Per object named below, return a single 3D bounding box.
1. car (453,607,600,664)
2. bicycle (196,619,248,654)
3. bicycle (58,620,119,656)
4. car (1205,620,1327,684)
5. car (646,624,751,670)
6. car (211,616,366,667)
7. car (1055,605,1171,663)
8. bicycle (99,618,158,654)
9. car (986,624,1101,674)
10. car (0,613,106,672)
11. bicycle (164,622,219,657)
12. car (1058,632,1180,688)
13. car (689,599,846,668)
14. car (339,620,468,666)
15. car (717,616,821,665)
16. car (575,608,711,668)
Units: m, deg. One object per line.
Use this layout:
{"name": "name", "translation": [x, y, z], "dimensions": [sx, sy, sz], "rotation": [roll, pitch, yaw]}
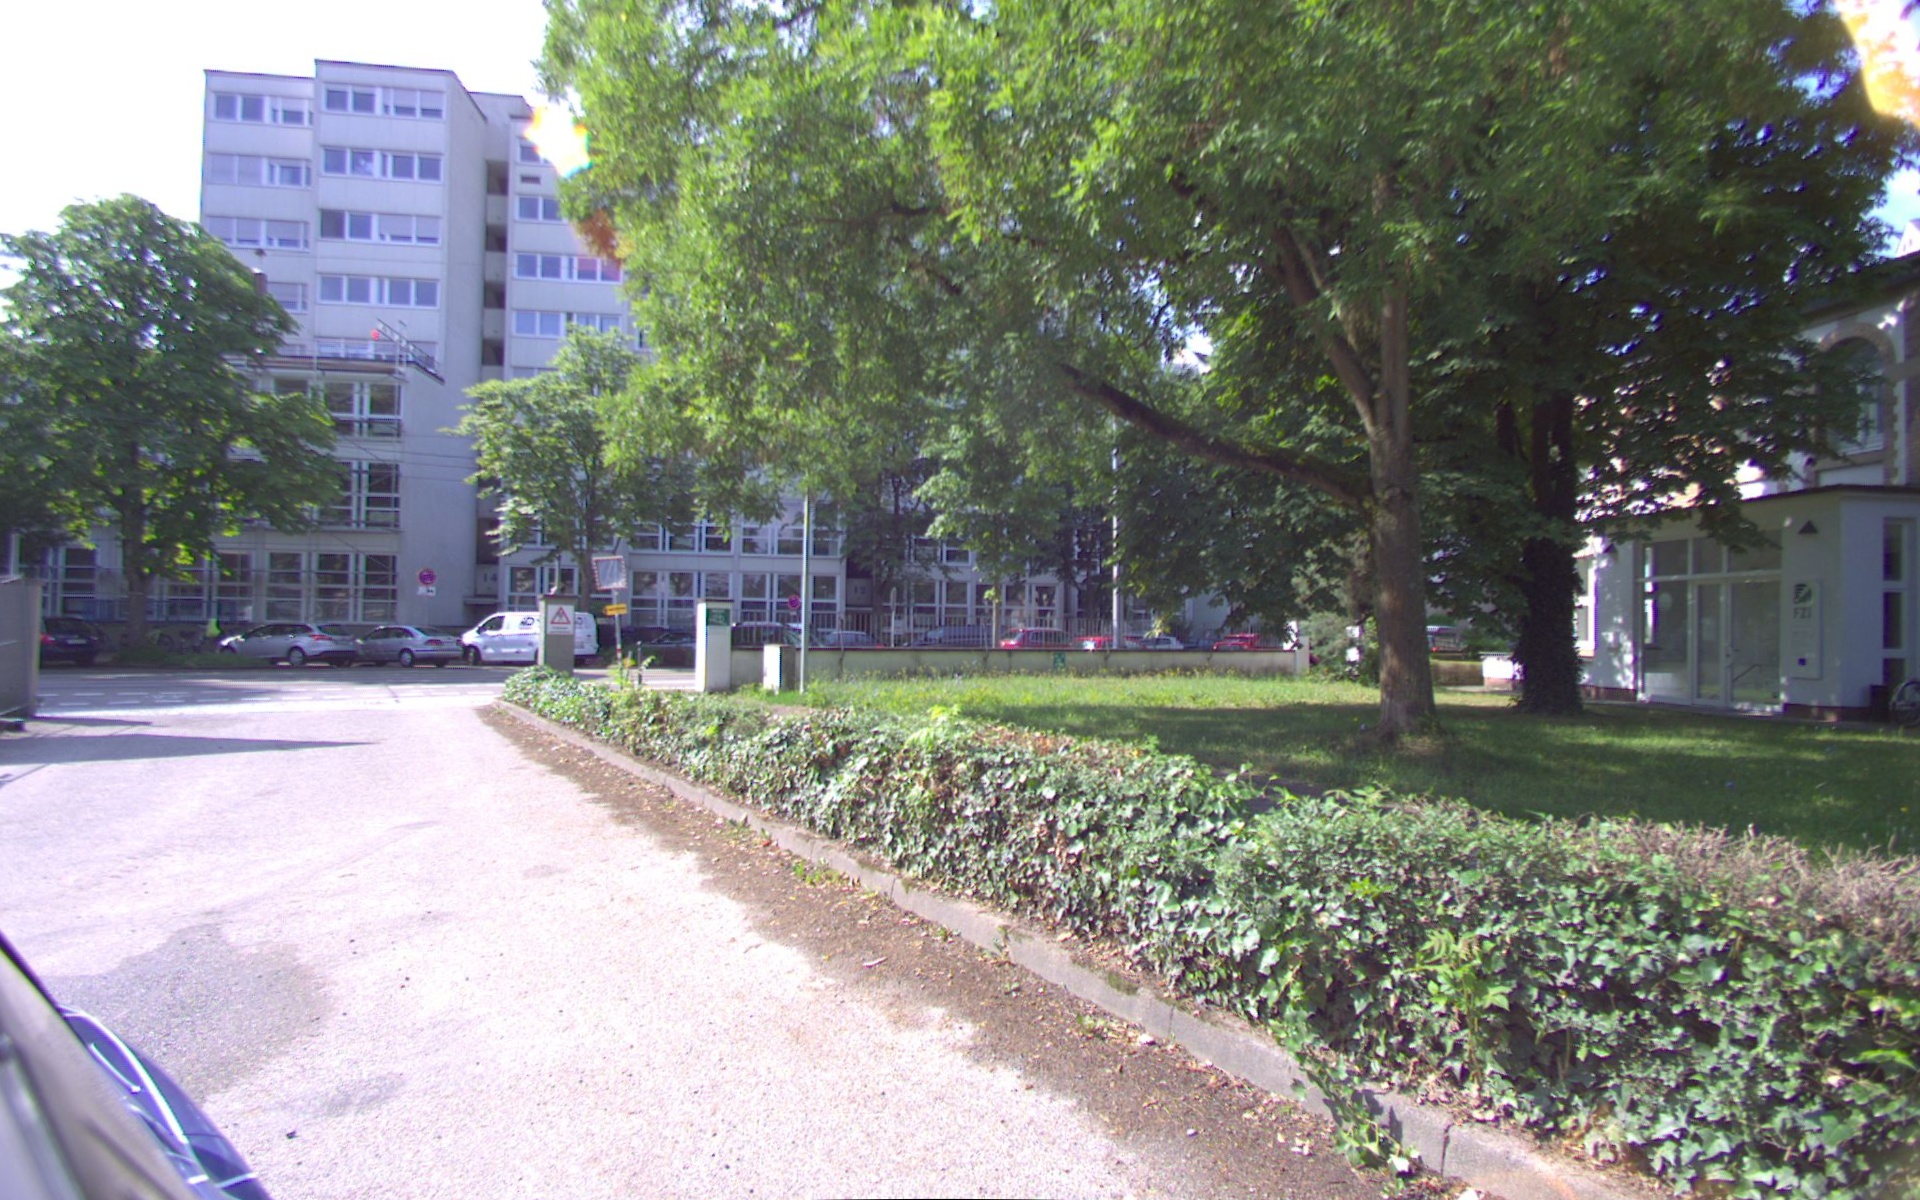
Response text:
{"name": "car", "translation": [-15.435, 1.276, 36.110], "dimensions": [4.599, 1.927, 1.922], "rotation": [0, -3, 16]}
{"name": "bicycle", "translation": [-27.269, 1.324, 37.418], "dimensions": [0.489, 1.095, 2.059], "rotation": [-3, 3, -4]}
{"name": "bicycle", "translation": [-31.575, 1.360, 36.711], "dimensions": [0.489, 1.095, 2.059], "rotation": [-3, 3, -4]}
{"name": "car", "translation": [10.790, 1.767, 35.621], "dimensions": [3.933, 1.718, 1.972], "rotation": [-5, 4, -32]}
{"name": "car", "translation": [-10.361, 1.854, 40.224], "dimensions": [3.595, 1.512, 1.758], "rotation": [-2, 2, 9]}
{"name": "car", "translation": [-21.935, 1.349, 33.117], "dimensions": [4.189, 1.475, 1.777], "rotation": [-2, -2, 10]}
{"name": "car", "translation": [4.789, 1.033, 31.678], "dimensions": [3.225, 1.497, 1.677], "rotation": [-5, 2, -33]}
{"name": "bicycle", "translation": [-30.353, 1.290, 36.984], "dimensions": [0.489, 1.095, 2.059], "rotation": [-3, 3, -4]}
{"name": "car", "translation": [2.983, 1.685, 35.837], "dimensions": [3.904, 1.624, 1.684], "rotation": [1, -1, -35]}
{"name": "car", "translation": [-27.217, 1.248, 29.300], "dimensions": [3.962, 1.473, 1.752], "rotation": [-2, 3, 15]}
{"name": "bicycle", "translation": [-28.065, 1.425, 36.998], "dimensions": [0.489, 1.095, 2.059], "rotation": [-3, 3, -4]}
{"name": "car", "translation": [4.967, 1.840, 31.542], "dimensions": [3.524, 1.624, 1.684], "rotation": [1, -2, -34]}
{"name": "car", "translation": [-4.838, 0.835, 25.566], "dimensions": [3.524, 1.624, 1.684], "rotation": [1, -2, -34]}
{"name": "car", "translation": [-19.097, 1.462, 34.753], "dimensions": [3.747, 1.487, 1.718], "rotation": [-1, -1, 14]}
{"name": "car", "translation": [-7.848, 1.648, 41.738], "dimensions": [3.719, 1.724, 1.878], "rotation": [-2, 3, 11]}
{"name": "car", "translation": [-11.832, 1.386, 37.834], "dimensions": [4.531, 2.012, 1.895], "rotation": [0, 4, 16]}
